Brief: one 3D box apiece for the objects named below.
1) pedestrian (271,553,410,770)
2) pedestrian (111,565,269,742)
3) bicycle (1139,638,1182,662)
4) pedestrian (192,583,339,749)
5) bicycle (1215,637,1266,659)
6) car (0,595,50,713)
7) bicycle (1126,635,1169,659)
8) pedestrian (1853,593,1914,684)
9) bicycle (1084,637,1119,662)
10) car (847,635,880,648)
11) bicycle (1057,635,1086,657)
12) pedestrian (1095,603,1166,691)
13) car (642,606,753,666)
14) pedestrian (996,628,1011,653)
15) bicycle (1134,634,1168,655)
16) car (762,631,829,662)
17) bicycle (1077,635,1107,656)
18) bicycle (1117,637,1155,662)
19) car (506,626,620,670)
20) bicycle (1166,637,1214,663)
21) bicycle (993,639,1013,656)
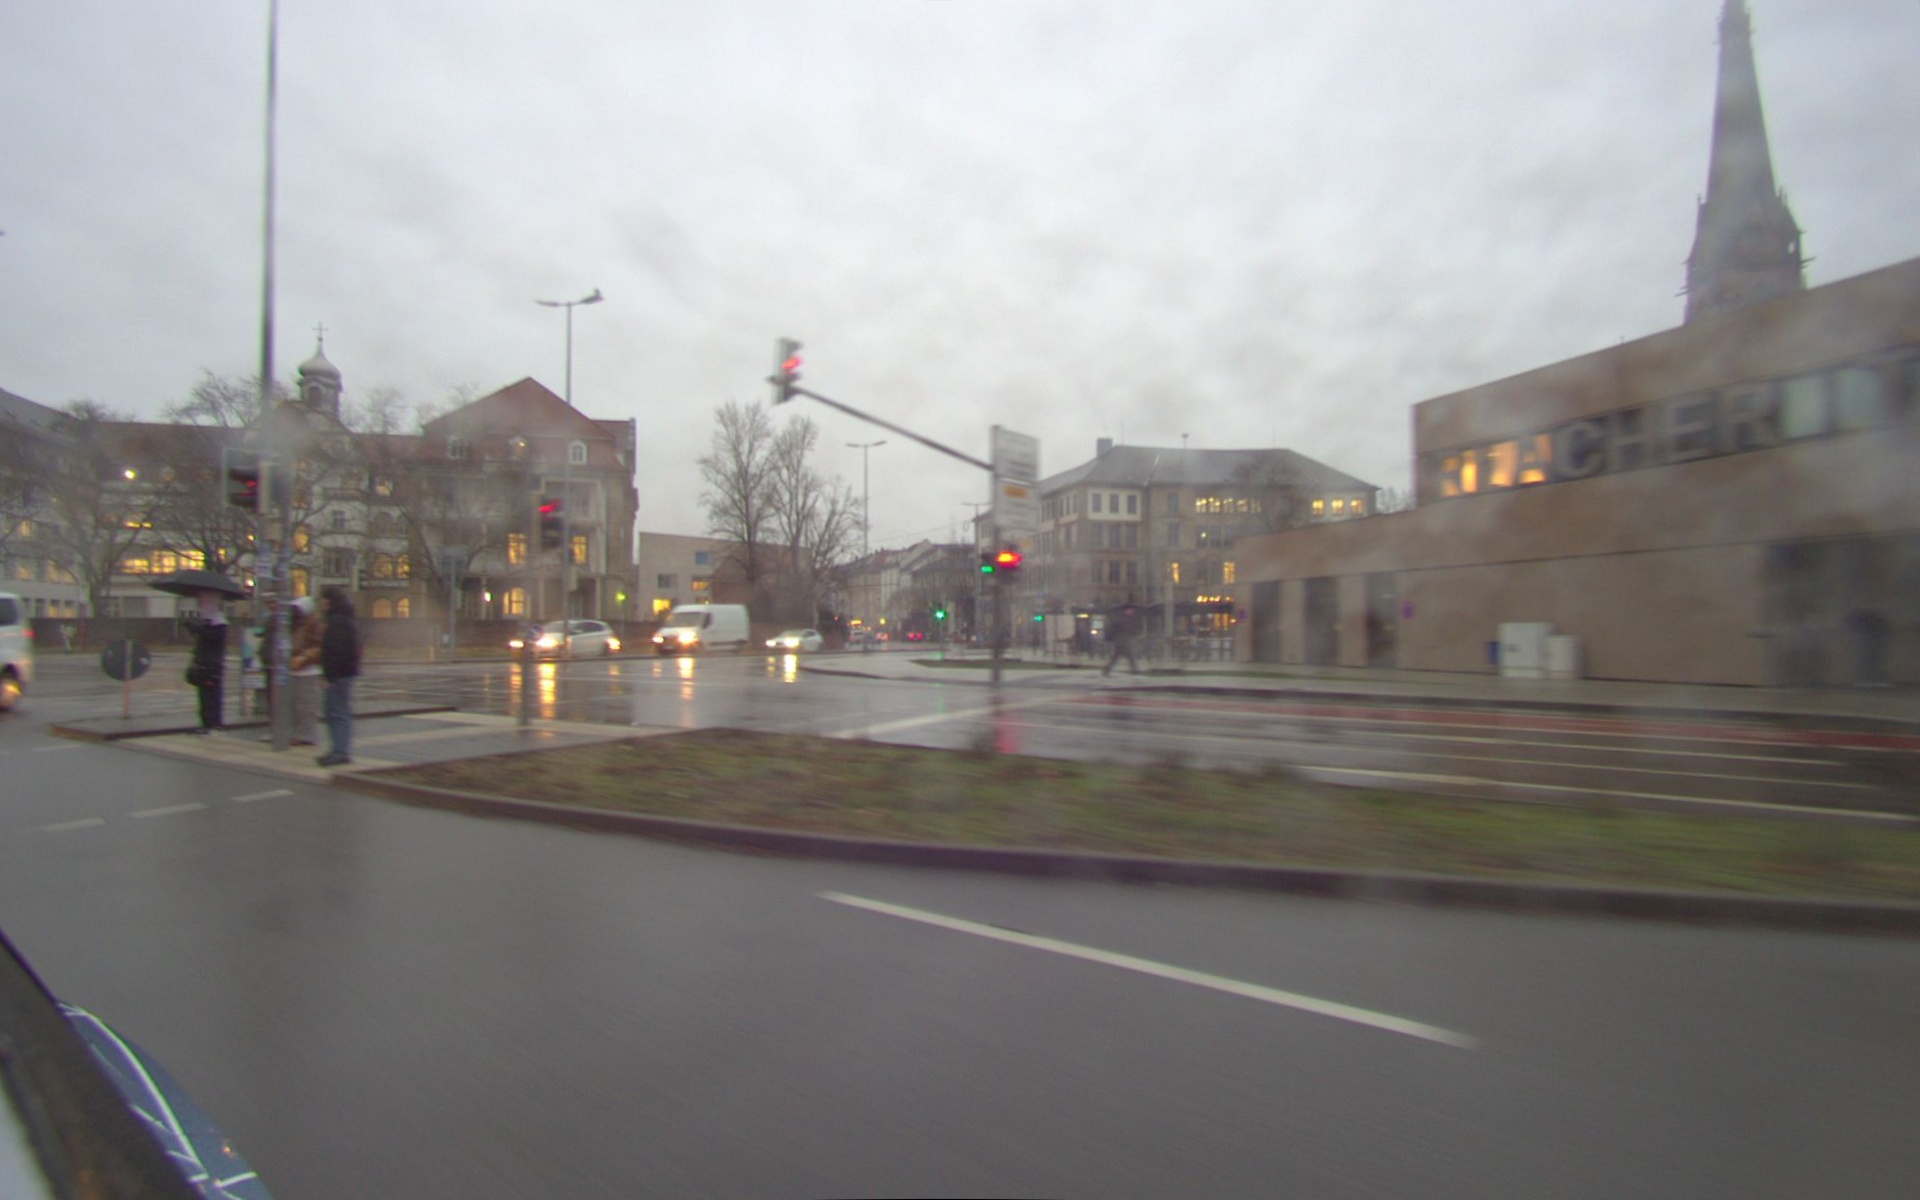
[{"bbox_3d":[-6.196,0.613,10.113,1.108,2.021,0.837,-5,-4,37],"label":"pedestrian"},{"bbox_3d":[-9.594,0.665,12.662,1.024,2.065,1.210,-3,-3,12],"label":"pedestrian"},{"bbox_3d":[10.001,2.484,50.557,0.636,1.113,2.759,-1,-2,-23],"label":"bicycle"},{"bbox_3d":[-8.350,0.784,12.212,1.057,1.872,1.033,-3,-3,5],"label":"pedestrian"},{"bbox_3d":[13.983,2.373,50.502,0.781,1.058,3.204,1,-2,-18],"label":"bicycle"},{"bbox_3d":[-16.556,0.838,15.291,2.102,1.936,5.030,-1,-3,-15],"label":"car"},{"bbox_3d":[9.288,2.342,50.262,0.636,1.113,2.759,-1,-3,-24],"label":"bicycle"},{"bbox_3d":[18.212,0.765,19.951,0.731,1.739,0.745,2,-3,-39],"label":"pedestrian"},{"bbox_3d":[6.812,2.412,49.026,0.636,1.113,2.758,-2,-3,-14],"label":"bicycle"},{"bbox_3d":[-12.991,5.629,136.716,3.934,1.763,1.978,2,-3,-36],"label":"car"},{"bbox_3d":[6.117,2.552,55.714,0.636,1.113,2.758,-2,-3,-14],"label":"bicycle"},{"bbox_3d":[3.770,1.037,22.380,1.033,1.872,1.220,-5,-4,35],"label":"pedestrian"},{"bbox_3d":[-12.137,1.684,47.300,2.328,2.537,5.835,-3,-3,17],"label":"car"},{"bbox_3d":[3.108,2.873,72.126,0.715,1.747,0.971,0,-3,32],"label":"pedestrian"},{"bbox_3d":[10.783,2.539,57.241,0.636,1.113,2.759,-1,-3,-17],"label":"bicycle"},{"bbox_3d":[-9.141,2.587,56.659,1.823,1.656,4.789,0,-2,17],"label":"car"},{"bbox_3d":[7.275,2.514,55.910,0.636,1.113,2.758,-2,-3,-14],"label":"bicycle"},{"bbox_3d":[8.412,2.386,48.524,0.636,1.113,2.758,-2,-3,-14],"label":"bicycle"},{"bbox_3d":[-14.873,1.784,38.172,1.740,1.515,4.293,-3,-3,17],"label":"car"},{"bbox_3d":[10.013,2.172,44.160,0.597,1.113,2.759,-1,-2,-21],"label":"bicycle"},{"bbox_3d":[3.079,3.400,72.114,0.622,1.185,1.853,0,-2,31],"label":"bicycle"}]
